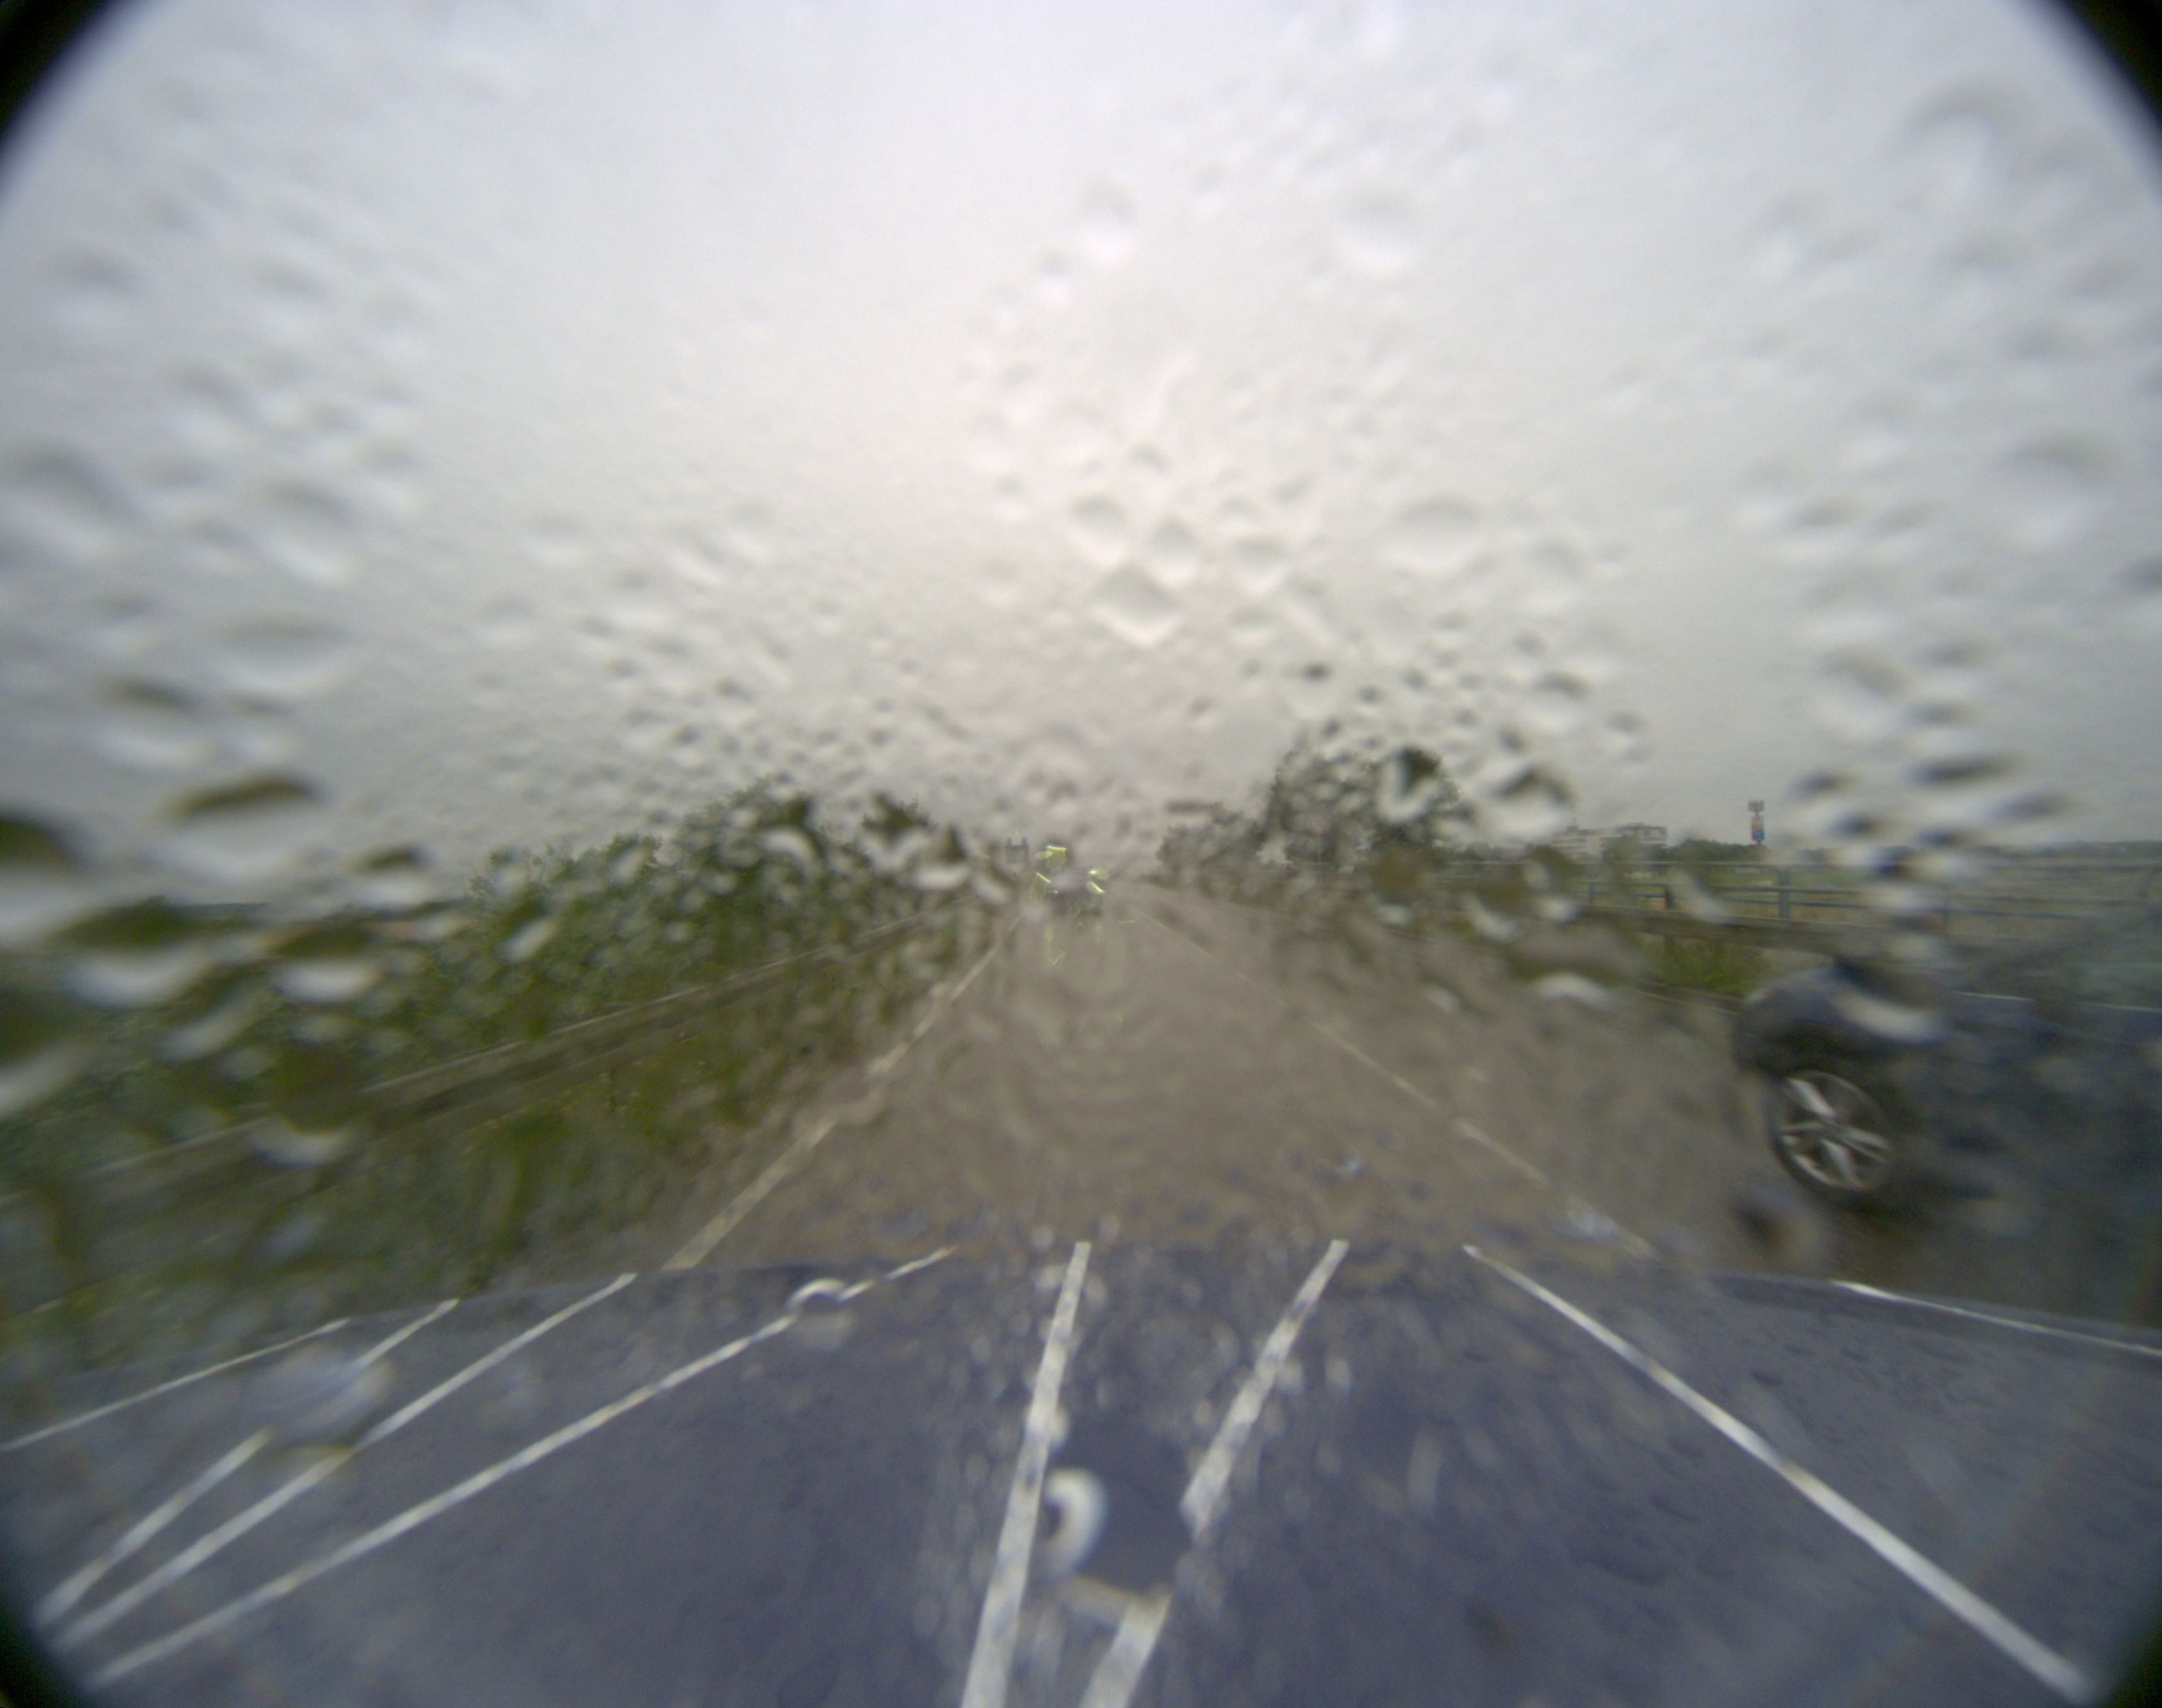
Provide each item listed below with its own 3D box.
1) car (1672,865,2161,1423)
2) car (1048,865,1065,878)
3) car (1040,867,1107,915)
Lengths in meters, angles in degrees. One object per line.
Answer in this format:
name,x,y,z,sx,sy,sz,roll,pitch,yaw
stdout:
car,3.919,0.822,1.780,1.785,1.517,4.168,-1,0,-1
car,-2.975,2.057,90.563,1.909,1.361,4.565,-2,-1,-2
car,-0.251,1.097,24.149,1.909,1.361,4.565,-1,-1,-1
